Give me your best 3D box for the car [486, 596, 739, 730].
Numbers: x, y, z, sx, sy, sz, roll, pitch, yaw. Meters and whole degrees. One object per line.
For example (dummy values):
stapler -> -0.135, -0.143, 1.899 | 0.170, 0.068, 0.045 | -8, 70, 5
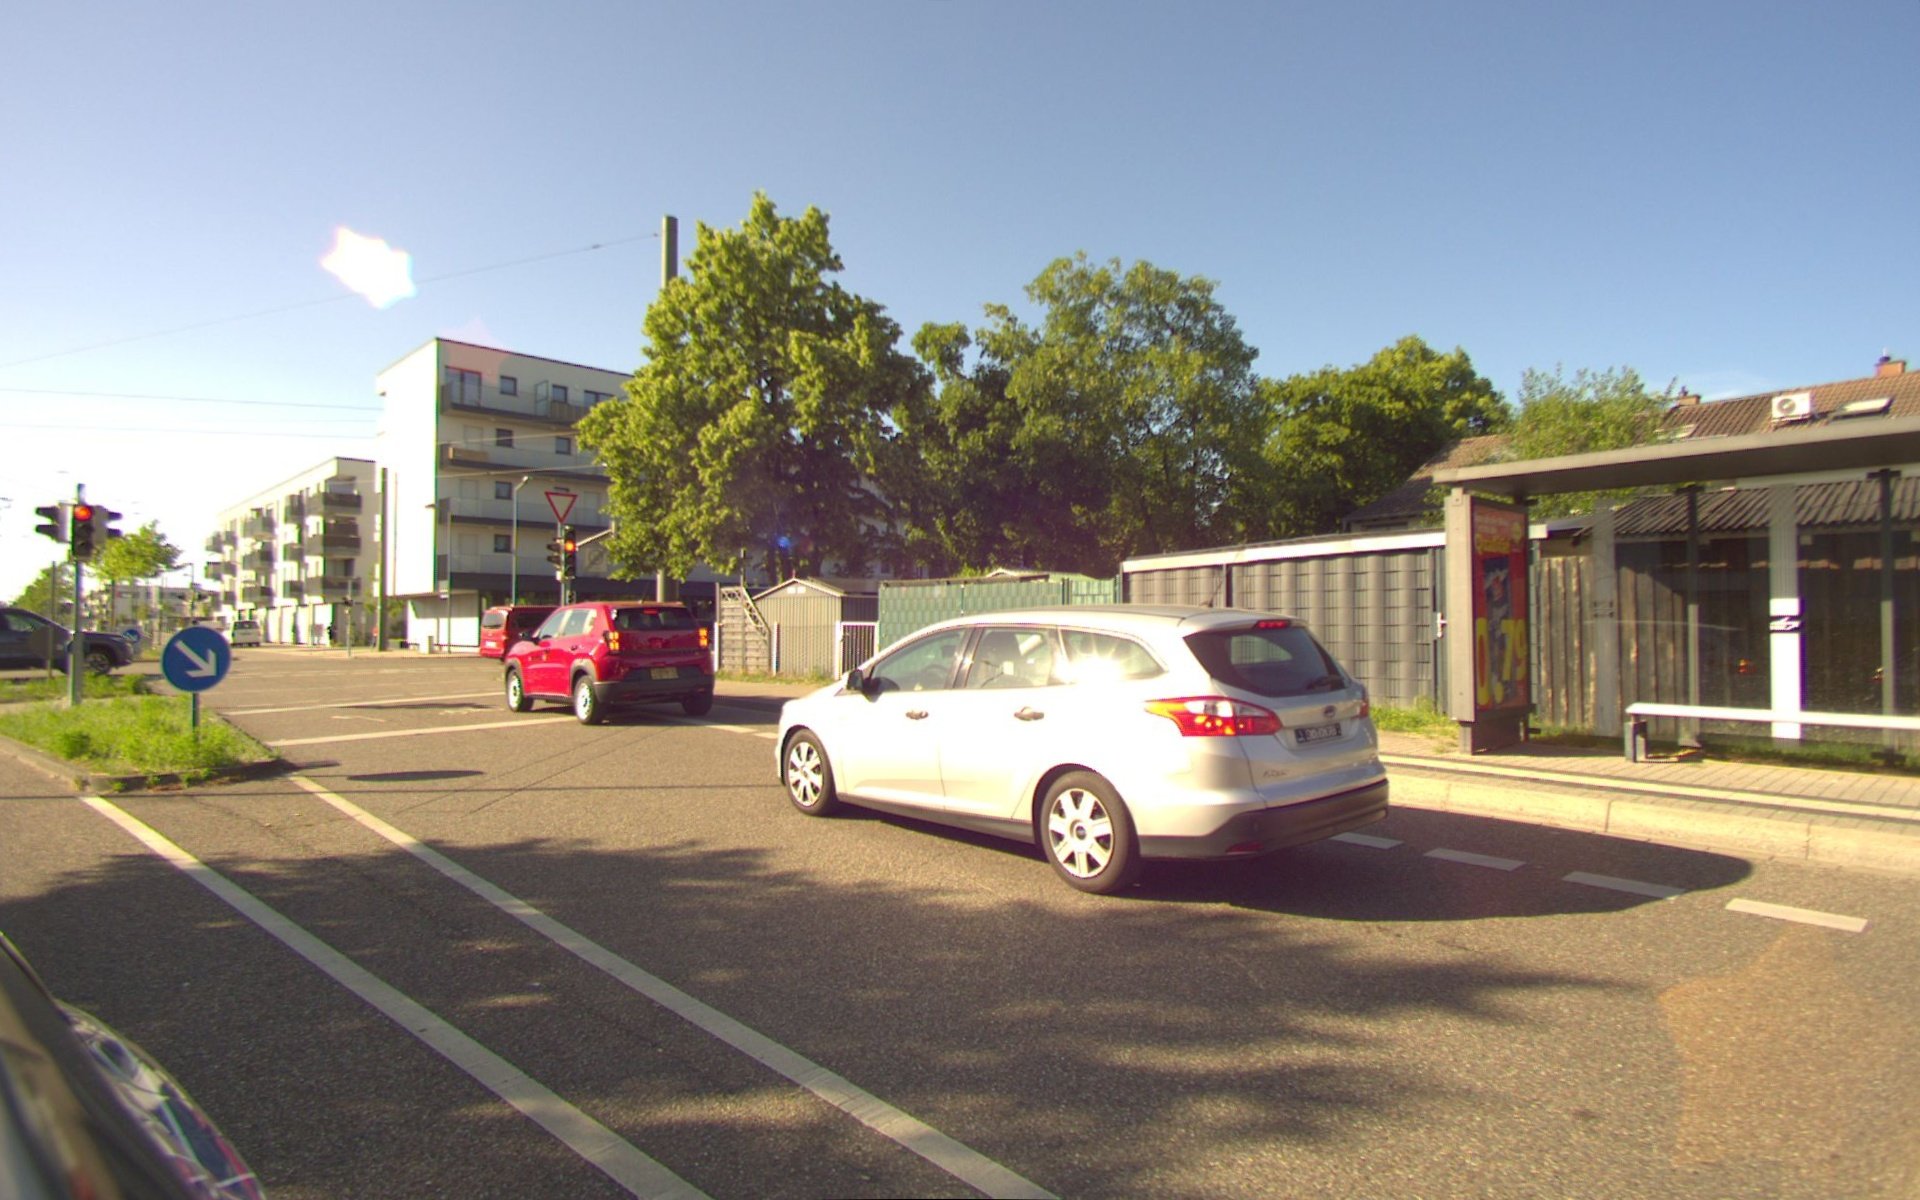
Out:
car -> -5.015, 0.817, 14.278 | 1.916, 1.601, 4.186 | 1, -2, -42

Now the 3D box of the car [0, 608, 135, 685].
car -> -21.809, 1.034, 23.010 | 1.997, 1.685, 4.352 | 0, -2, 37

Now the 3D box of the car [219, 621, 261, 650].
car -> -52.721, 2.579, 74.078 | 1.969, 2.029, 4.005 | 3, -1, -42

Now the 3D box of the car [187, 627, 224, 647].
car -> -63.910, 3.128, 85.715 | 1.970, 1.565, 4.004 | 3, -1, -44

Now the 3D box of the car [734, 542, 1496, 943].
car -> 0.603, 0.630, 6.507 | 2.181, 1.603, 4.542 | 1, -2, -40

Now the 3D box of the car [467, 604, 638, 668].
car -> -13.846, 1.198, 34.665 | 2.127, 1.984, 5.016 | 1, -1, 39
